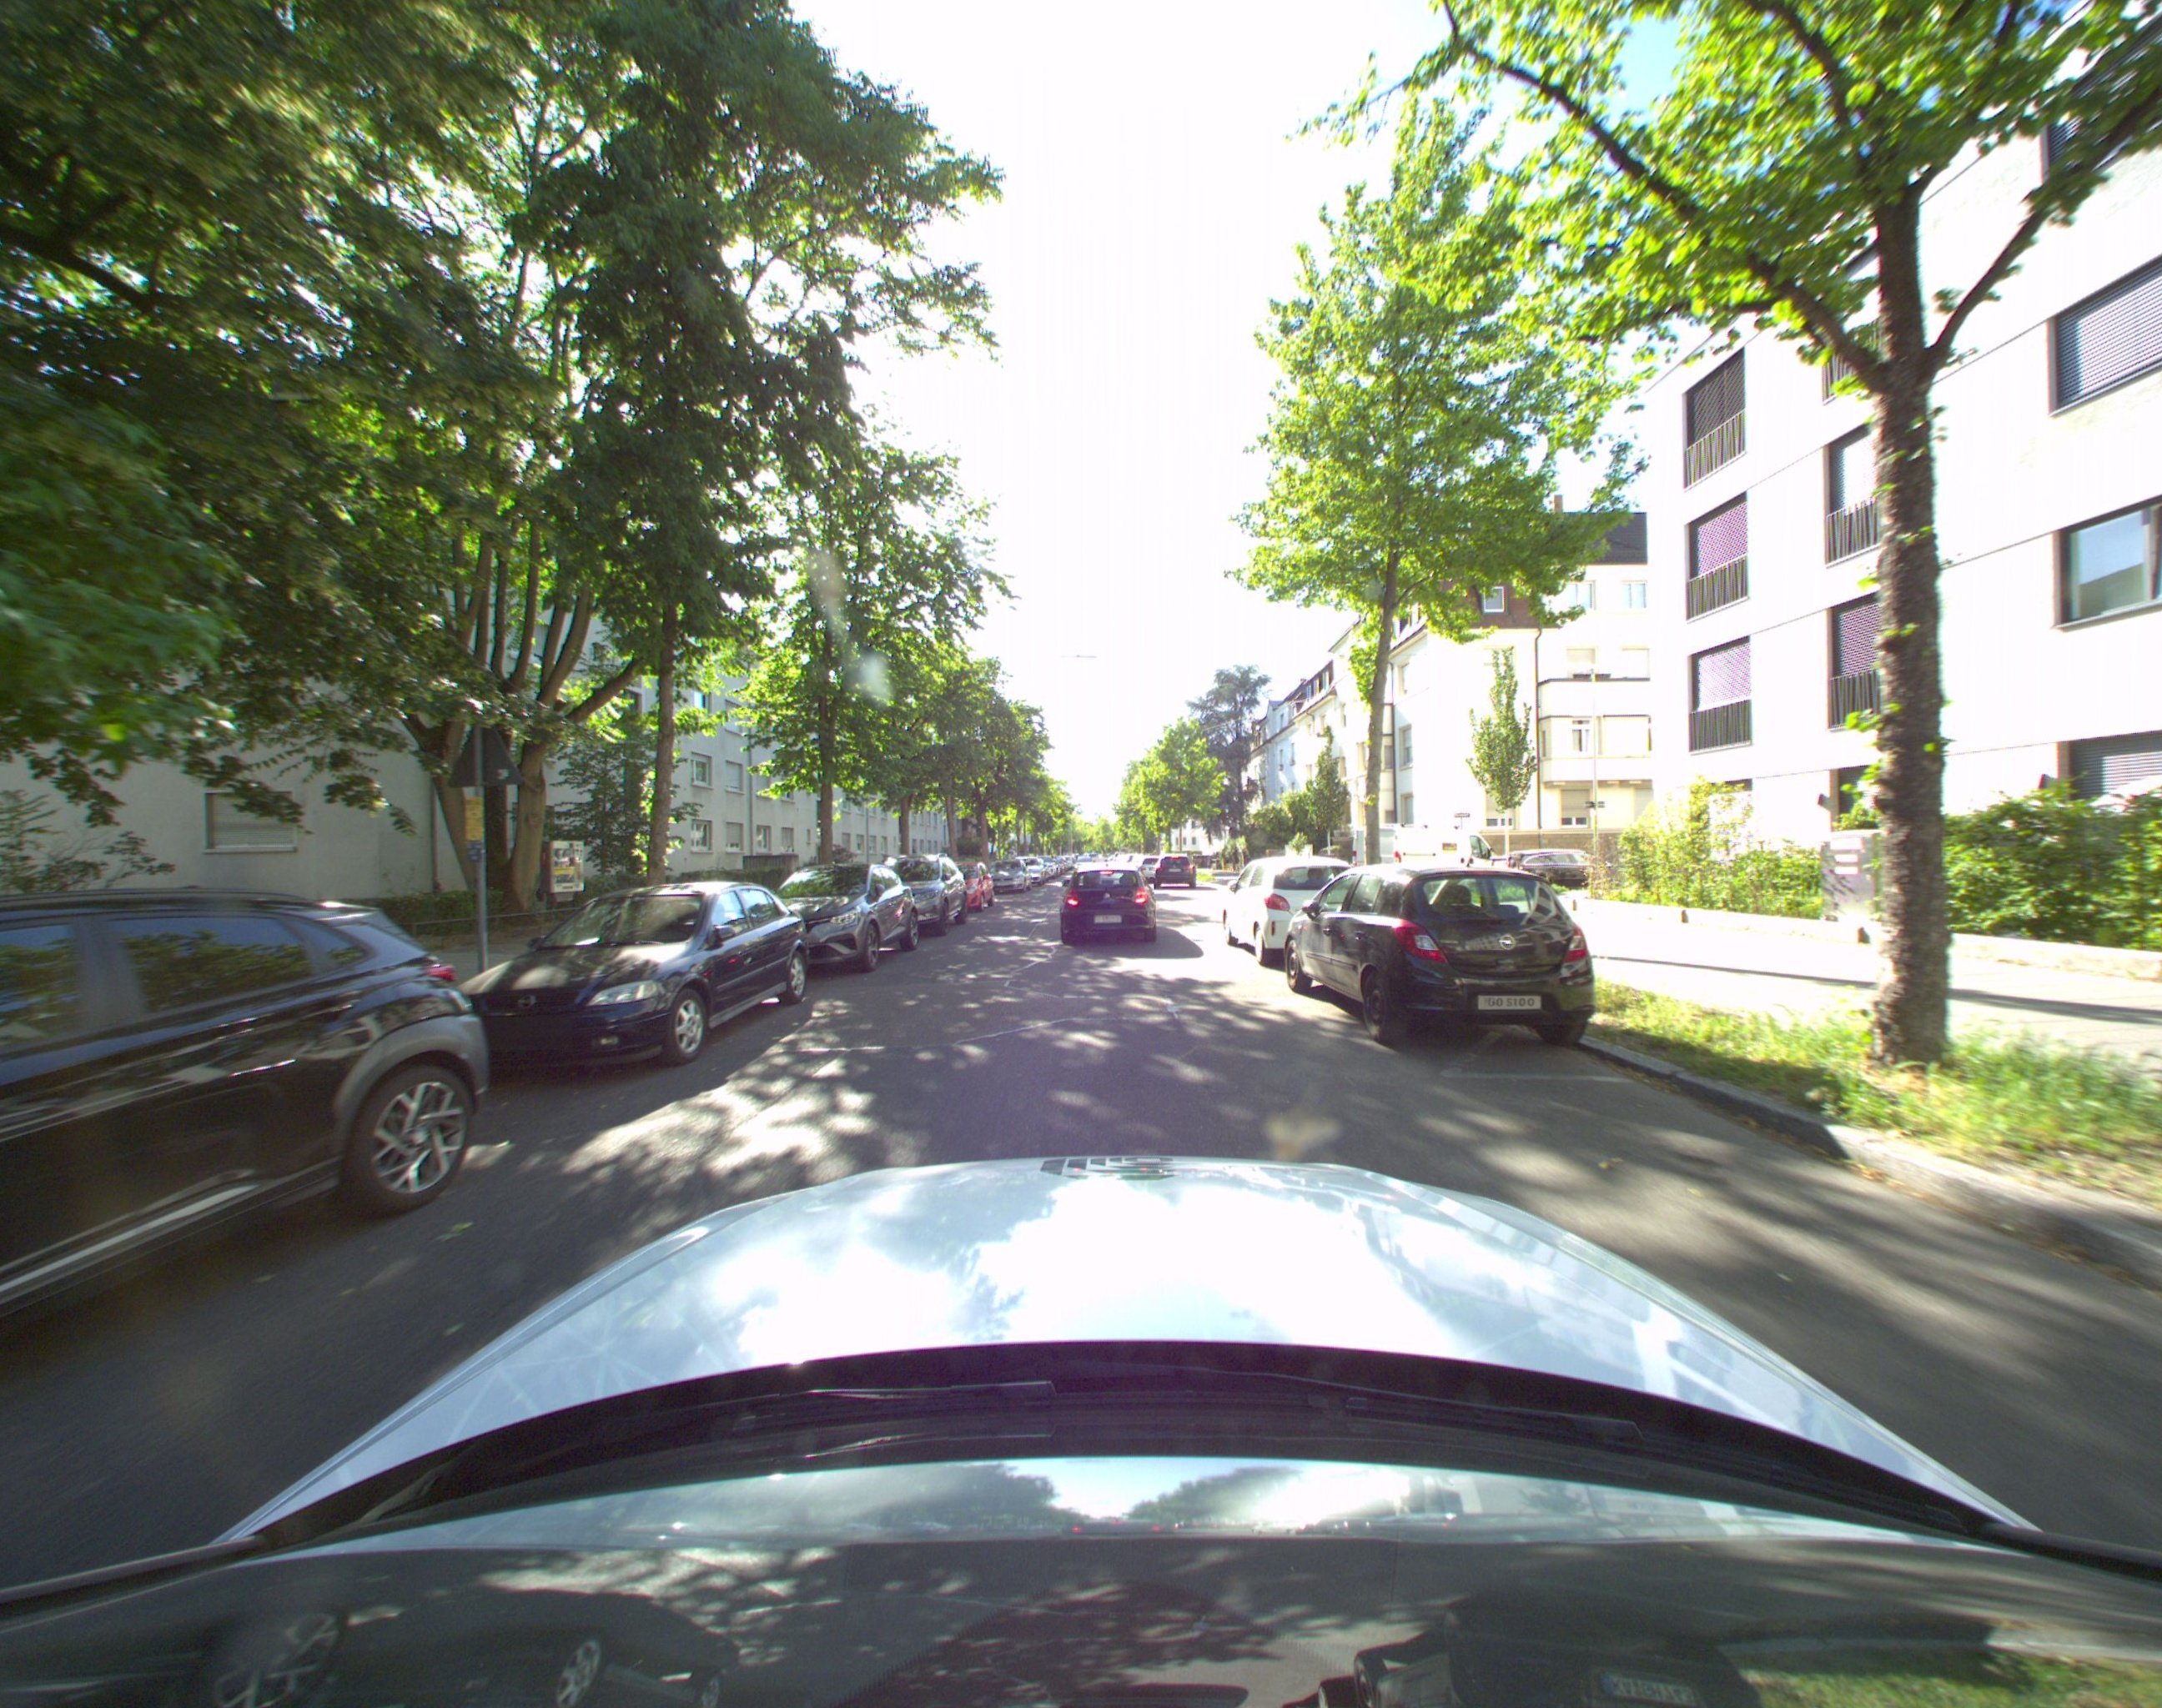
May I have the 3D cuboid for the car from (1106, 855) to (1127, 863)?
[{"bbox_3d":[6.956,0.976,160.286,3.978,1.587,1.725,-1,0,-3],"label":"car"}]

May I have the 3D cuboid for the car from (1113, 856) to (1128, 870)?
[{"bbox_3d":[5.716,1.264,118.789,1.964,1.949,4.985,-1,0,0],"label":"car"}]

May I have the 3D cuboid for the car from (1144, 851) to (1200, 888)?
[{"bbox_3d":[3.944,0.674,36.059,1.889,1.524,4.966,0,-1,0],"label":"car"}]

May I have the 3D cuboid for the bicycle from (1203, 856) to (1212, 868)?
[{"bbox_3d":[10.872,0.694,70.051,0.579,0.975,1.905,-2,0,3],"label":"bicycle"}]

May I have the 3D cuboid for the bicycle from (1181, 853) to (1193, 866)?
[{"bbox_3d":[11.190,0.573,85.929,0.836,1.257,2.229,-1,0,-3],"label":"bicycle"}]

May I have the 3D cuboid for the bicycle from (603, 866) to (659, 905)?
[{"bbox_3d":[-14.911,1.036,27.050,0.683,1.201,1.913,-1,0,3],"label":"bicycle"}]

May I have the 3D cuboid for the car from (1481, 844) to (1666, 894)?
[{"bbox_3d":[16.177,0.464,26.947,4.913,1.469,2.047,-1,0,-1],"label":"car"}]

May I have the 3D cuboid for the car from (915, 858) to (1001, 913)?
[{"bbox_3d":[-3.613,0.879,24.684,1.849,1.469,4.183,-1,0,1],"label":"car"}]

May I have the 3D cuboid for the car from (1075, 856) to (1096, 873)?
[{"bbox_3d":[0.432,0.980,74.966,1.803,1.445,4.366,-3,0,0],"label":"car"}]

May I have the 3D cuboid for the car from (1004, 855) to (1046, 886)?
[{"bbox_3d":[-2.944,0.825,43.982,2.058,1.524,4.718,-1,0,-2],"label":"car"}]

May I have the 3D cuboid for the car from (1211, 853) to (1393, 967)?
[{"bbox_3d":[3.239,0.737,12.766,1.727,1.487,4.008,-1,0,-1],"label":"car"}]

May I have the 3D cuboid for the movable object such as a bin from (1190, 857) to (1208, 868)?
[{"bbox_3d":[10.657,0.768,73.562,1.211,0.905,1.673,-1,0,21],"label":"movable object such as a bin"}]

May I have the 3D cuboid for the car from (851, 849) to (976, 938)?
[{"bbox_3d":[-3.596,0.775,18.423,1.762,1.688,4.814,-2,0,0],"label":"car"}]

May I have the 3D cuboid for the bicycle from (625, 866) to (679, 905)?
[{"bbox_3d":[-14.207,1.030,27.024,0.683,1.201,1.913,-1,0,3],"label":"bicycle"}]

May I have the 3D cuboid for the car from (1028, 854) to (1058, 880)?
[{"bbox_3d":[-2.554,0.852,55.731,1.723,1.618,4.366,-5,0,0],"label":"car"}]

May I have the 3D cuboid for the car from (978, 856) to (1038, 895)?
[{"bbox_3d":[-3.162,0.902,36.157,2.035,1.524,4.609,-1,0,2],"label":"car"}]

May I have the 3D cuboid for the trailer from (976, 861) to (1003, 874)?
[{"bbox_3d":[-7.865,1.165,70.397,1.781,1.034,3.284,-1,0,3],"label":"trailer"}]

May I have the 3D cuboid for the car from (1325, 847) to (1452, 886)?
[{"bbox_3d":[12.537,0.529,33.517,4.683,1.469,1.961,-1,-1,15],"label":"car"}]

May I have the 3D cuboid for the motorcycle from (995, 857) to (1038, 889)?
[{"bbox_3d":[-3.178,0.927,40.006,0.994,1.503,2.208,-2,0,-39],"label":"motorcycle"}]

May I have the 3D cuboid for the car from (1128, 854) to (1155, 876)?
[{"bbox_3d":[4.340,0.791,59.195,1.649,1.532,3.968,1,0,0],"label":"car"}]

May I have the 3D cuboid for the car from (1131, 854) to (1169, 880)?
[{"bbox_3d":[4.049,0.758,48.479,1.815,1.469,4.908,0,0,0],"label":"car"}]

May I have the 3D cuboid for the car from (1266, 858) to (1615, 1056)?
[{"bbox_3d":[3.174,0.785,8.195,1.665,1.450,4.178,1,0,0],"label":"car"}]

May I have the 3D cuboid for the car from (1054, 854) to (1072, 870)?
[{"bbox_3d":[-1.945,0.830,88.585,1.805,1.596,4.233,-2,0,1],"label":"car"}]

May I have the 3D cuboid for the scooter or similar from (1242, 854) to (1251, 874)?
[{"bbox_3d":[10.060,0.597,49.541,0.398,1.185,1.211,-2,0,16],"label":"scooter or similar"}]

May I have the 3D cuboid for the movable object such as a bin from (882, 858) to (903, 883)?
[{"bbox_3d":[-10.596,0.920,45.753,0.928,1.324,1.377,-2,0,-4],"label":"movable object such as a bin"}]

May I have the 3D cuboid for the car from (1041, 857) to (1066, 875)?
[{"bbox_3d":[-2.248,1.000,68.060,1.773,1.379,4.264,-3,0,2],"label":"car"}]

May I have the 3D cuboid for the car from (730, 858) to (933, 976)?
[{"bbox_3d":[-3.765,0.867,13.187,1.762,1.531,4.421,-1,0,2],"label":"car"}]

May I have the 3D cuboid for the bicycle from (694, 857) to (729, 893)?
[{"bbox_3d":[-13.945,0.776,30.792,0.397,1.289,1.914,-2,0,0],"label":"bicycle"}]

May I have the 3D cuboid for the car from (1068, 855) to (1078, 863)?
[{"bbox_3d":[-1.755,1.148,178.229,1.986,1.585,4.001,-1,0,1],"label":"car"}]

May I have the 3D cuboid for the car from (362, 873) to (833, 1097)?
[{"bbox_3d":[-3.952,0.937,7.758,1.779,1.352,4.480,-2,0,0],"label":"car"}]

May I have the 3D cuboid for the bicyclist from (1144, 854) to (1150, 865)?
[{"bbox_3d":[9.365,0.766,115.880,0.675,1.609,0.921,-2,0,-2],"label":"bicyclist"}]

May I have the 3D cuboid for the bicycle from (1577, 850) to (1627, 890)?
[{"bbox_3d":[15.885,0.464,24.813,2.002,1.174,0.655,0,-1,-39],"label":"bicycle"}]

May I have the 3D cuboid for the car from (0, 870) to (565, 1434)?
[{"bbox_3d":[-3.977,0.911,2.544,1.699,1.577,4.484,-2,0,2],"label":"car"}]

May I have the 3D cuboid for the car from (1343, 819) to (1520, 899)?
[{"bbox_3d":[11.072,0.112,25.715,5.061,2.306,2.218,-1,0,-23],"label":"car"}]

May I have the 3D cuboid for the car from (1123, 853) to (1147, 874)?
[{"bbox_3d":[4.523,0.750,68.777,1.918,1.651,5.098,1,0,3],"label":"car"}]

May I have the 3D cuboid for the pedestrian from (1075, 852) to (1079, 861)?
[{"bbox_3d":[-0.791,0.589,169.822,0.715,1.900,0.834,-1,0,-9],"label":"pedestrian"}]

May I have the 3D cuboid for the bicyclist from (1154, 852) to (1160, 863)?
[{"bbox_3d":[10.824,0.543,116.090,0.674,1.553,1.021,-2,0,-2],"label":"bicyclist"}]

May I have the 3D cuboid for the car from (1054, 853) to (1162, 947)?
[{"bbox_3d":[0.486,0.774,15.736,1.776,1.523,4.000,-2,0,1],"label":"car"}]

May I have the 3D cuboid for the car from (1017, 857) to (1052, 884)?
[{"bbox_3d":[-2.775,0.947,49.166,1.722,1.447,4.821,-4,0,0],"label":"car"}]

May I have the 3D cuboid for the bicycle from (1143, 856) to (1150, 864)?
[{"bbox_3d":[9.363,0.875,116.062,0.682,1.153,2.401,-2,0,-2],"label":"bicycle"}]
